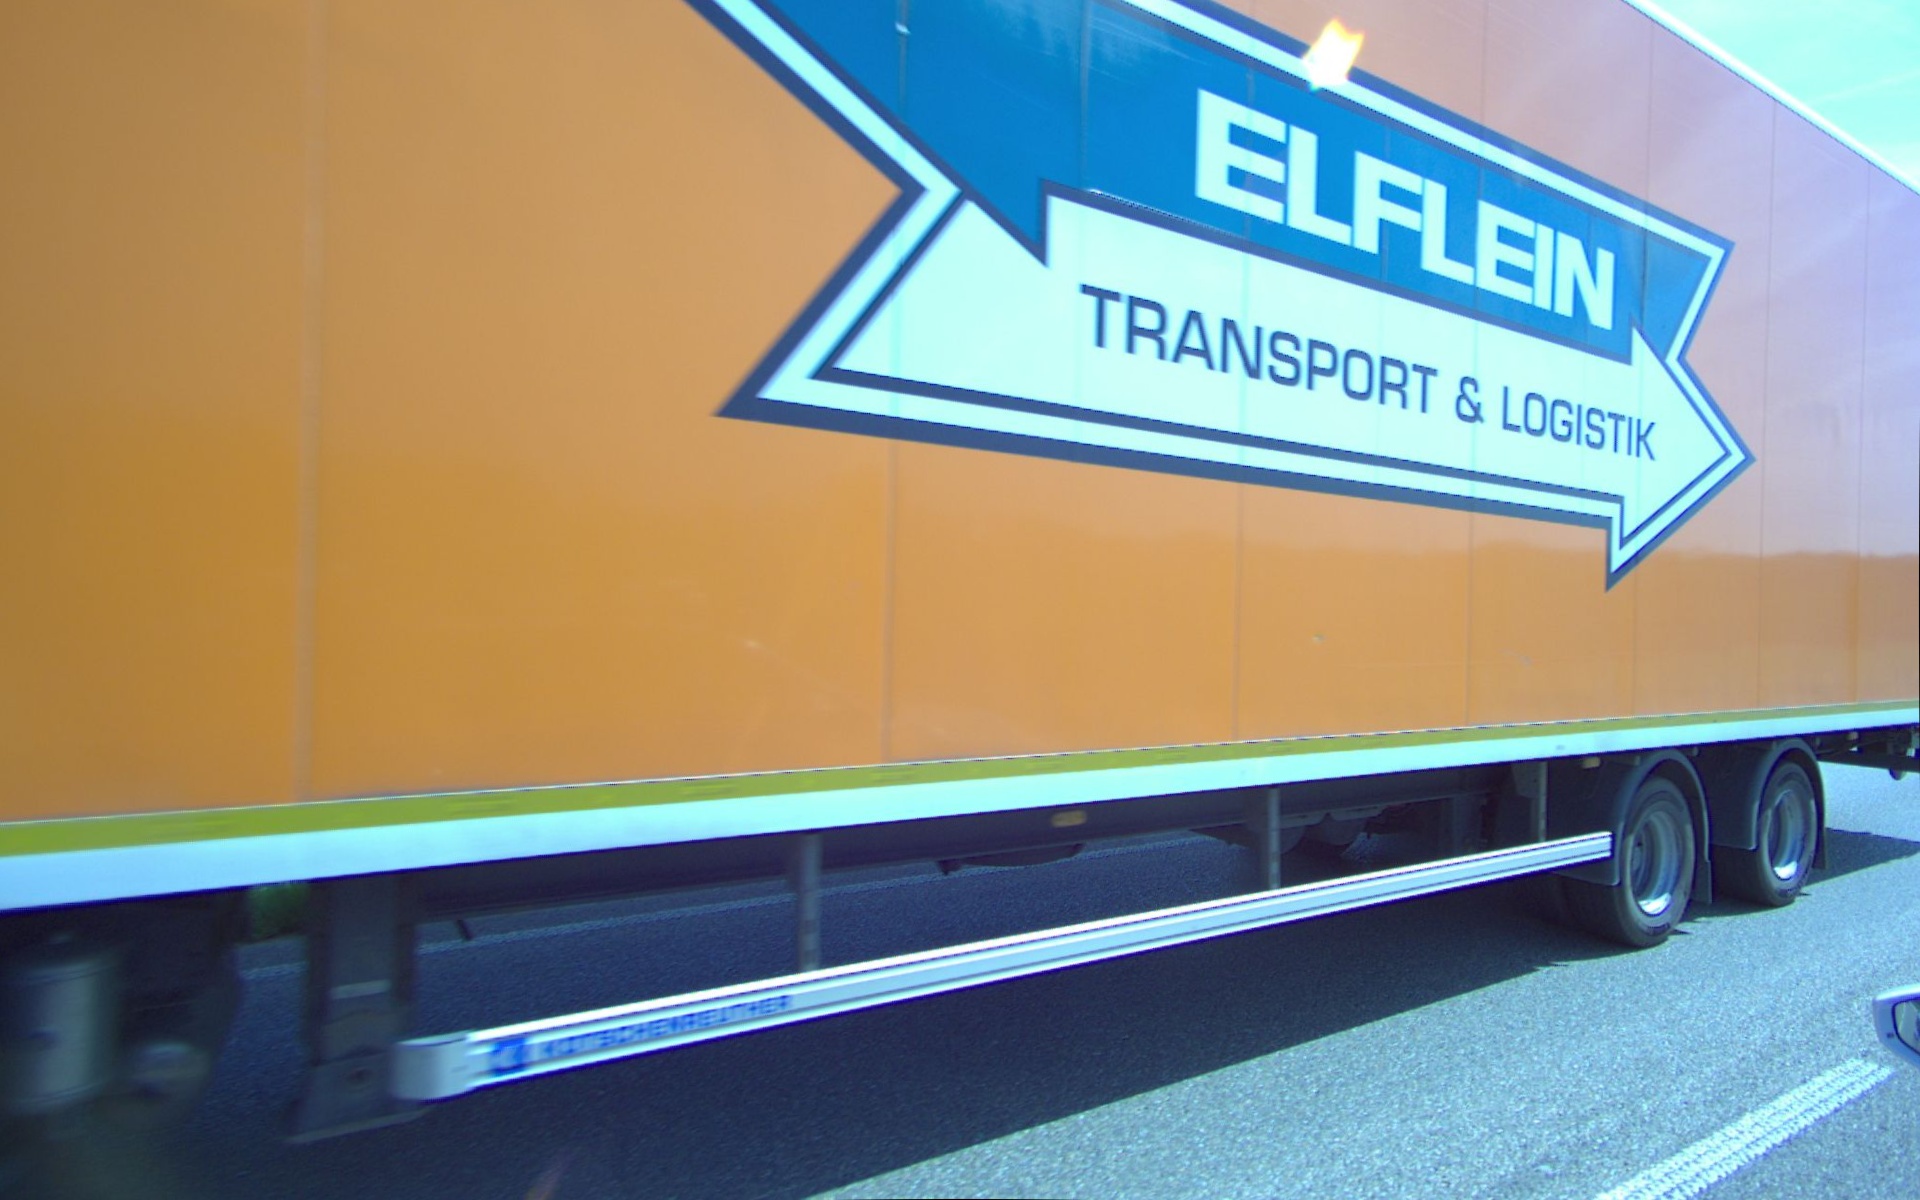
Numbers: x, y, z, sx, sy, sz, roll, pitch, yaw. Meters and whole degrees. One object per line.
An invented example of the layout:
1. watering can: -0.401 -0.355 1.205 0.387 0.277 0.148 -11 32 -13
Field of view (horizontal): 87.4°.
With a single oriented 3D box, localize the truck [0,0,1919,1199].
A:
1. truck: -0.289 -0.595 3.862 16.835 4.052 2.756 1 0 -32
